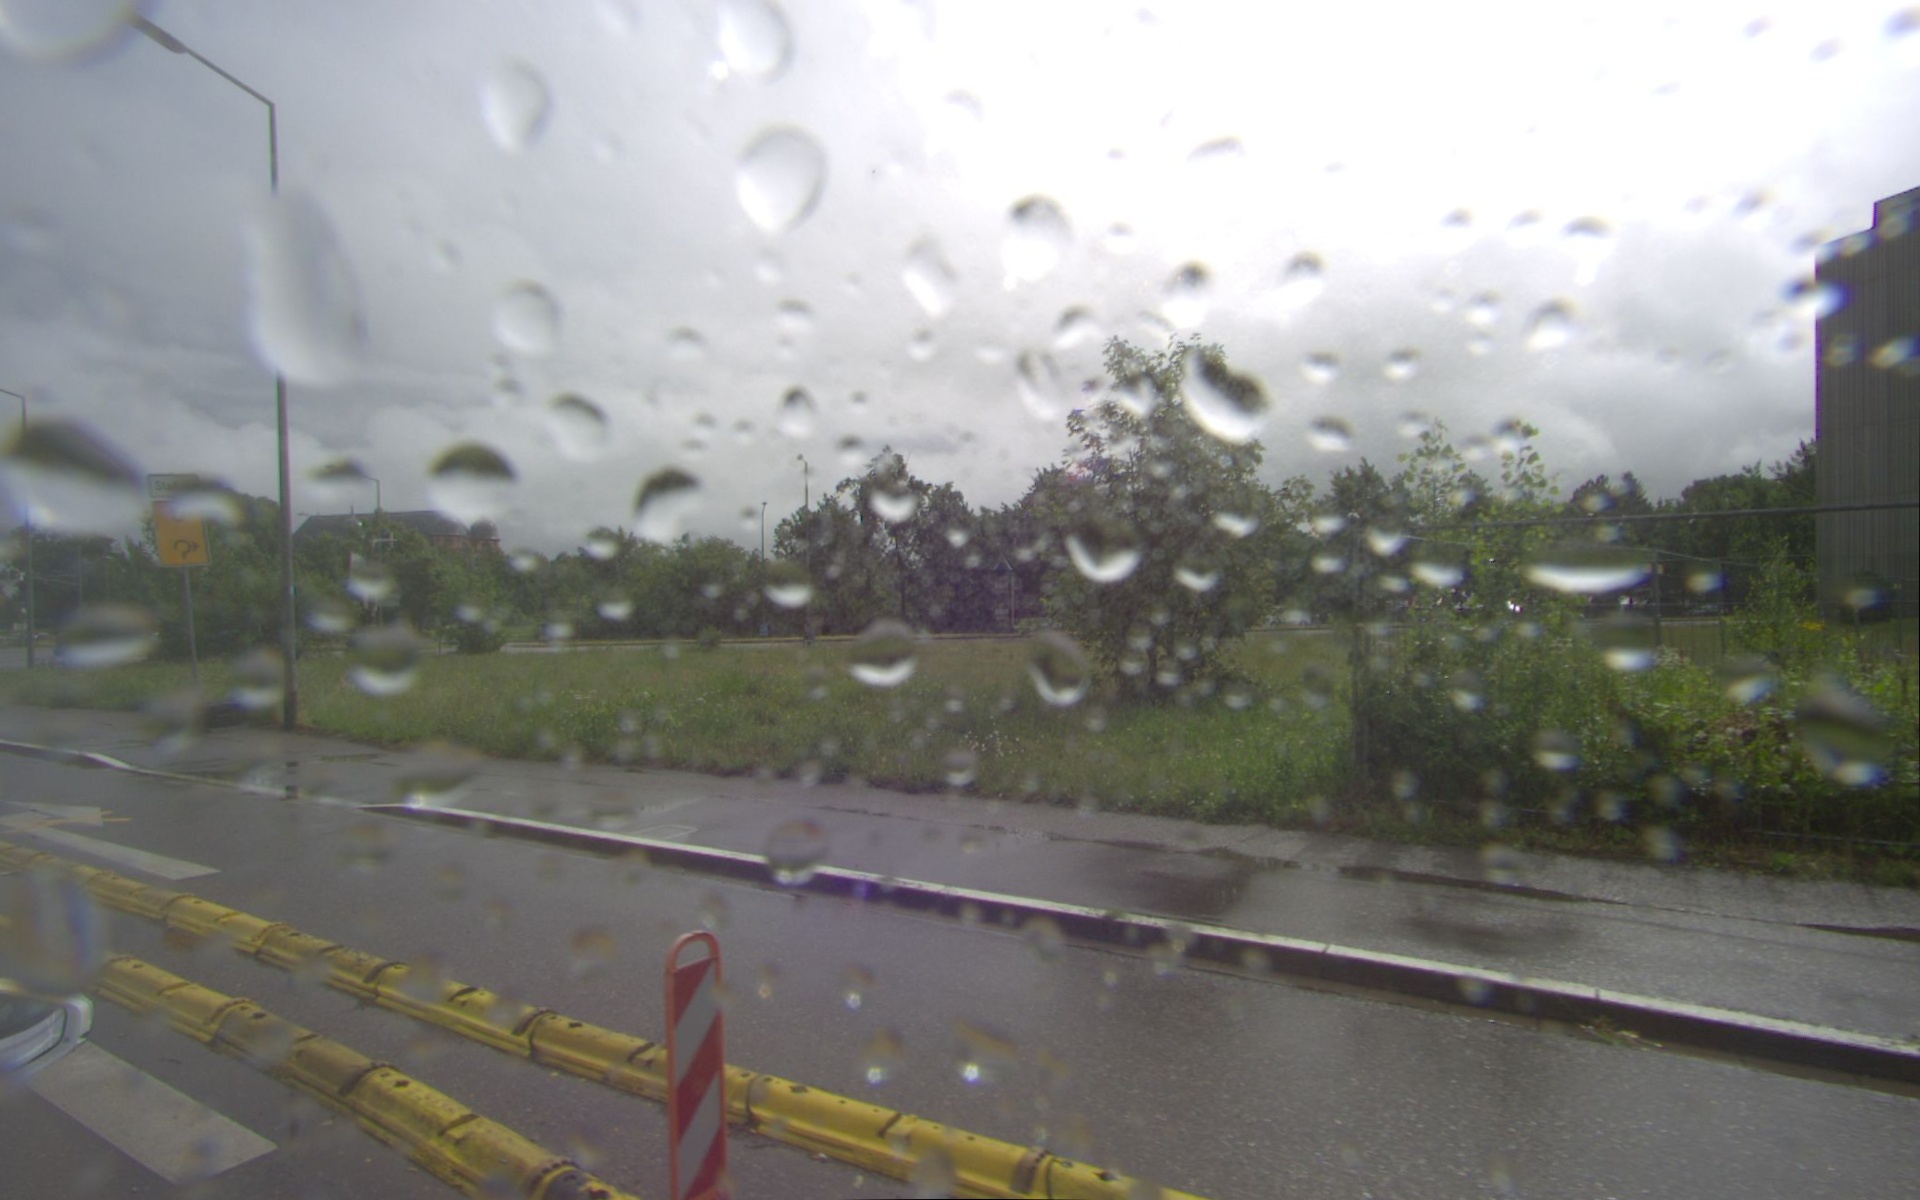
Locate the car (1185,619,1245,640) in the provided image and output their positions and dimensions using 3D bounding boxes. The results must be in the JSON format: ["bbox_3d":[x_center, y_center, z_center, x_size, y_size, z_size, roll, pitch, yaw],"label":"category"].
[{"bbox_3d":[20.433,2.343,80.221,4.227,1.581,1.912,0,0,-15],"label":"car"}]

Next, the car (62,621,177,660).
[{"bbox_3d":[-37.814,1.782,45.129,3.910,1.666,1.657,1,-1,-40],"label":"car"}]

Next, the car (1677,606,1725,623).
[{"bbox_3d":[73.370,1.437,99.141,4.158,1.579,1.541,0,0,-15],"label":"car"}]

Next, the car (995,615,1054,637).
[{"bbox_3d":[4.904,1.961,76.330,4.039,1.581,1.912,0,0,-13],"label":"car"}]

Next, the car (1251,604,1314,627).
[{"bbox_3d":[27.793,1.347,86.357,4.874,1.944,1.996,0,0,-17],"label":"car"}]
